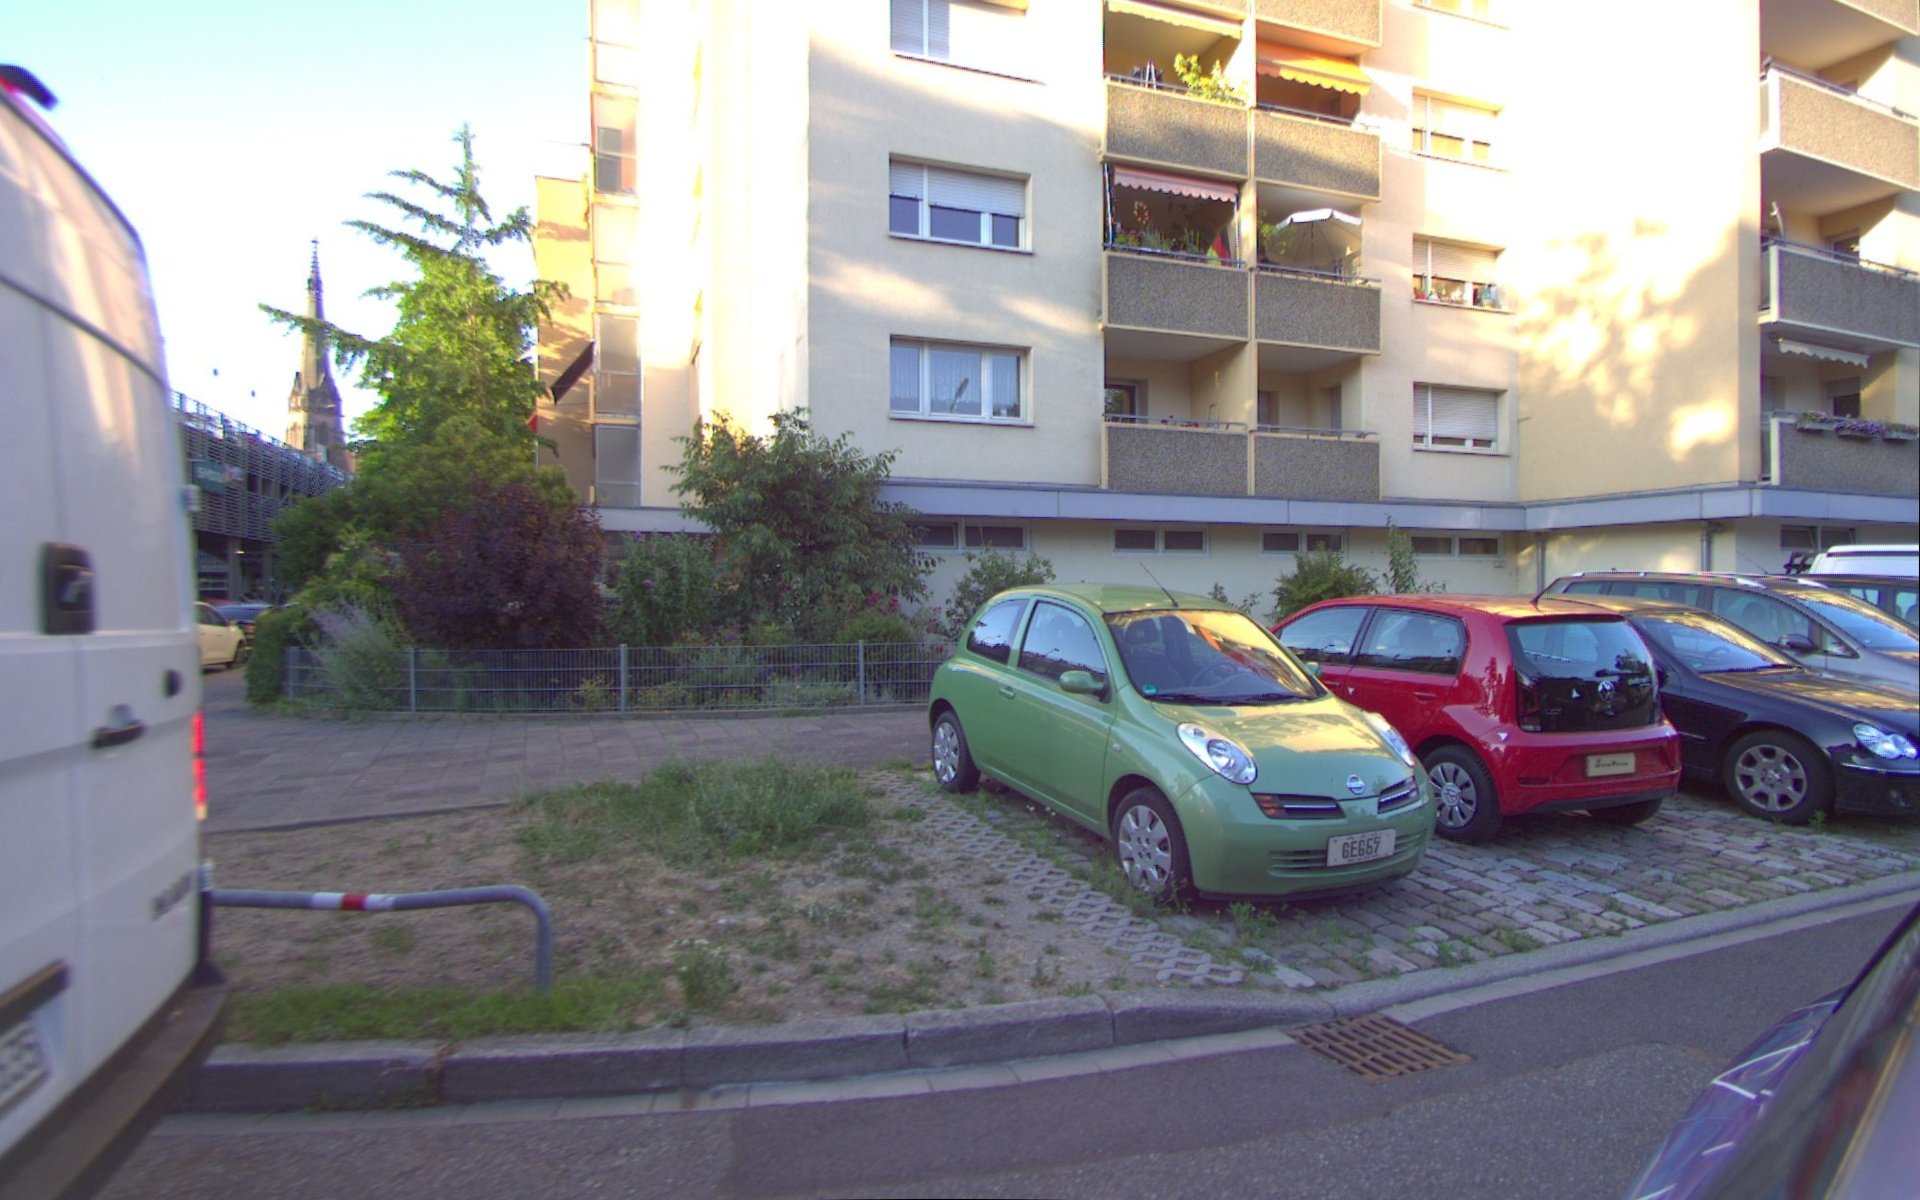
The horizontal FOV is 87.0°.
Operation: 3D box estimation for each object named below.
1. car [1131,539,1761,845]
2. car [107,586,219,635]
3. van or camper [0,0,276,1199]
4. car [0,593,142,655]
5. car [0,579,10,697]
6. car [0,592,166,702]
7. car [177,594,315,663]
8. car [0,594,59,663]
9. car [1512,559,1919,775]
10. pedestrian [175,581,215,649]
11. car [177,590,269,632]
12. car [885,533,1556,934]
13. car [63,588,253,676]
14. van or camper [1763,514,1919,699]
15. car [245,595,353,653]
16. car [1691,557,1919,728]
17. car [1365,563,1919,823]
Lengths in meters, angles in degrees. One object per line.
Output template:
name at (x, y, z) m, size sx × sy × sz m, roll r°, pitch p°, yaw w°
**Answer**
car at (3.295, 0.393, 8.026) m, size 1.807 × 1.650 × 4.430 m, roll 0°, pitch 4°, yaw -21°
car at (-26.842, 0.305, 34.236) m, size 1.785 × 1.522 × 3.858 m, roll 0°, pitch 1°, yaw -19°
van or camper at (-4.572, 0.171, 0.894) m, size 6.269 × 2.652 × 2.003 m, roll -1°, pitch -1°, yaw -21°
car at (-24.359, 0.584, 27.748) m, size 1.785 × 1.522 × 3.858 m, roll 0°, pitch 1°, yaw -19°
car at (-12.868, 0.534, 11.349) m, size 1.785 × 1.542 × 3.858 m, roll 0°, pitch 1°, yaw -19°
car at (-14.205, 0.637, 15.694) m, size 1.785 × 1.480 × 3.858 m, roll 0°, pitch 1°, yaw -19°
car at (-17.781, 0.642, 25.403) m, size 1.785 × 1.548 × 3.858 m, roll 0°, pitch 1°, yaw -19°
car at (-22.852, 0.656, 23.300) m, size 1.785 × 1.522 × 3.858 m, roll 0°, pitch 1°, yaw -19°
car at (8.005, 0.478, 9.831) m, size 1.808 × 1.681 × 4.427 m, roll -2°, pitch 3°, yaw -25°
pedestrian at (-23.304, 0.458, 30.851) m, size 0.711 × 2.039 × 0.868 m, roll 0°, pitch 0°, yaw -17°
car at (-28.446, 0.388, 39.186) m, size 1.785 × 1.522 × 3.858 m, roll 0°, pitch 1°, yaw -19°
car at (1.165, 0.484, 6.587) m, size 1.808 × 1.651 × 4.426 m, roll -2°, pitch 2°, yaw -25°
car at (-15.866, 0.552, 20.269) m, size 1.785 × 1.548 × 3.858 m, roll 0°, pitch 1°, yaw -19°
van or camper at (12.760, 0.126, 11.595) m, size 1.998 × 2.193 × 5.162 m, roll -1°, pitch 4°, yaw -25°
car at (-19.606, 0.663, 30.199) m, size 1.785 × 1.548 × 3.858 m, roll 0°, pitch 1°, yaw -19°
car at (10.501, 0.425, 10.549) m, size 1.745 × 1.681 × 4.349 m, roll -2°, pitch 3°, yaw -25°
car at (5.766, 0.499, 8.404) m, size 1.808 × 1.550 × 4.426 m, roll -2°, pitch 2°, yaw -25°
